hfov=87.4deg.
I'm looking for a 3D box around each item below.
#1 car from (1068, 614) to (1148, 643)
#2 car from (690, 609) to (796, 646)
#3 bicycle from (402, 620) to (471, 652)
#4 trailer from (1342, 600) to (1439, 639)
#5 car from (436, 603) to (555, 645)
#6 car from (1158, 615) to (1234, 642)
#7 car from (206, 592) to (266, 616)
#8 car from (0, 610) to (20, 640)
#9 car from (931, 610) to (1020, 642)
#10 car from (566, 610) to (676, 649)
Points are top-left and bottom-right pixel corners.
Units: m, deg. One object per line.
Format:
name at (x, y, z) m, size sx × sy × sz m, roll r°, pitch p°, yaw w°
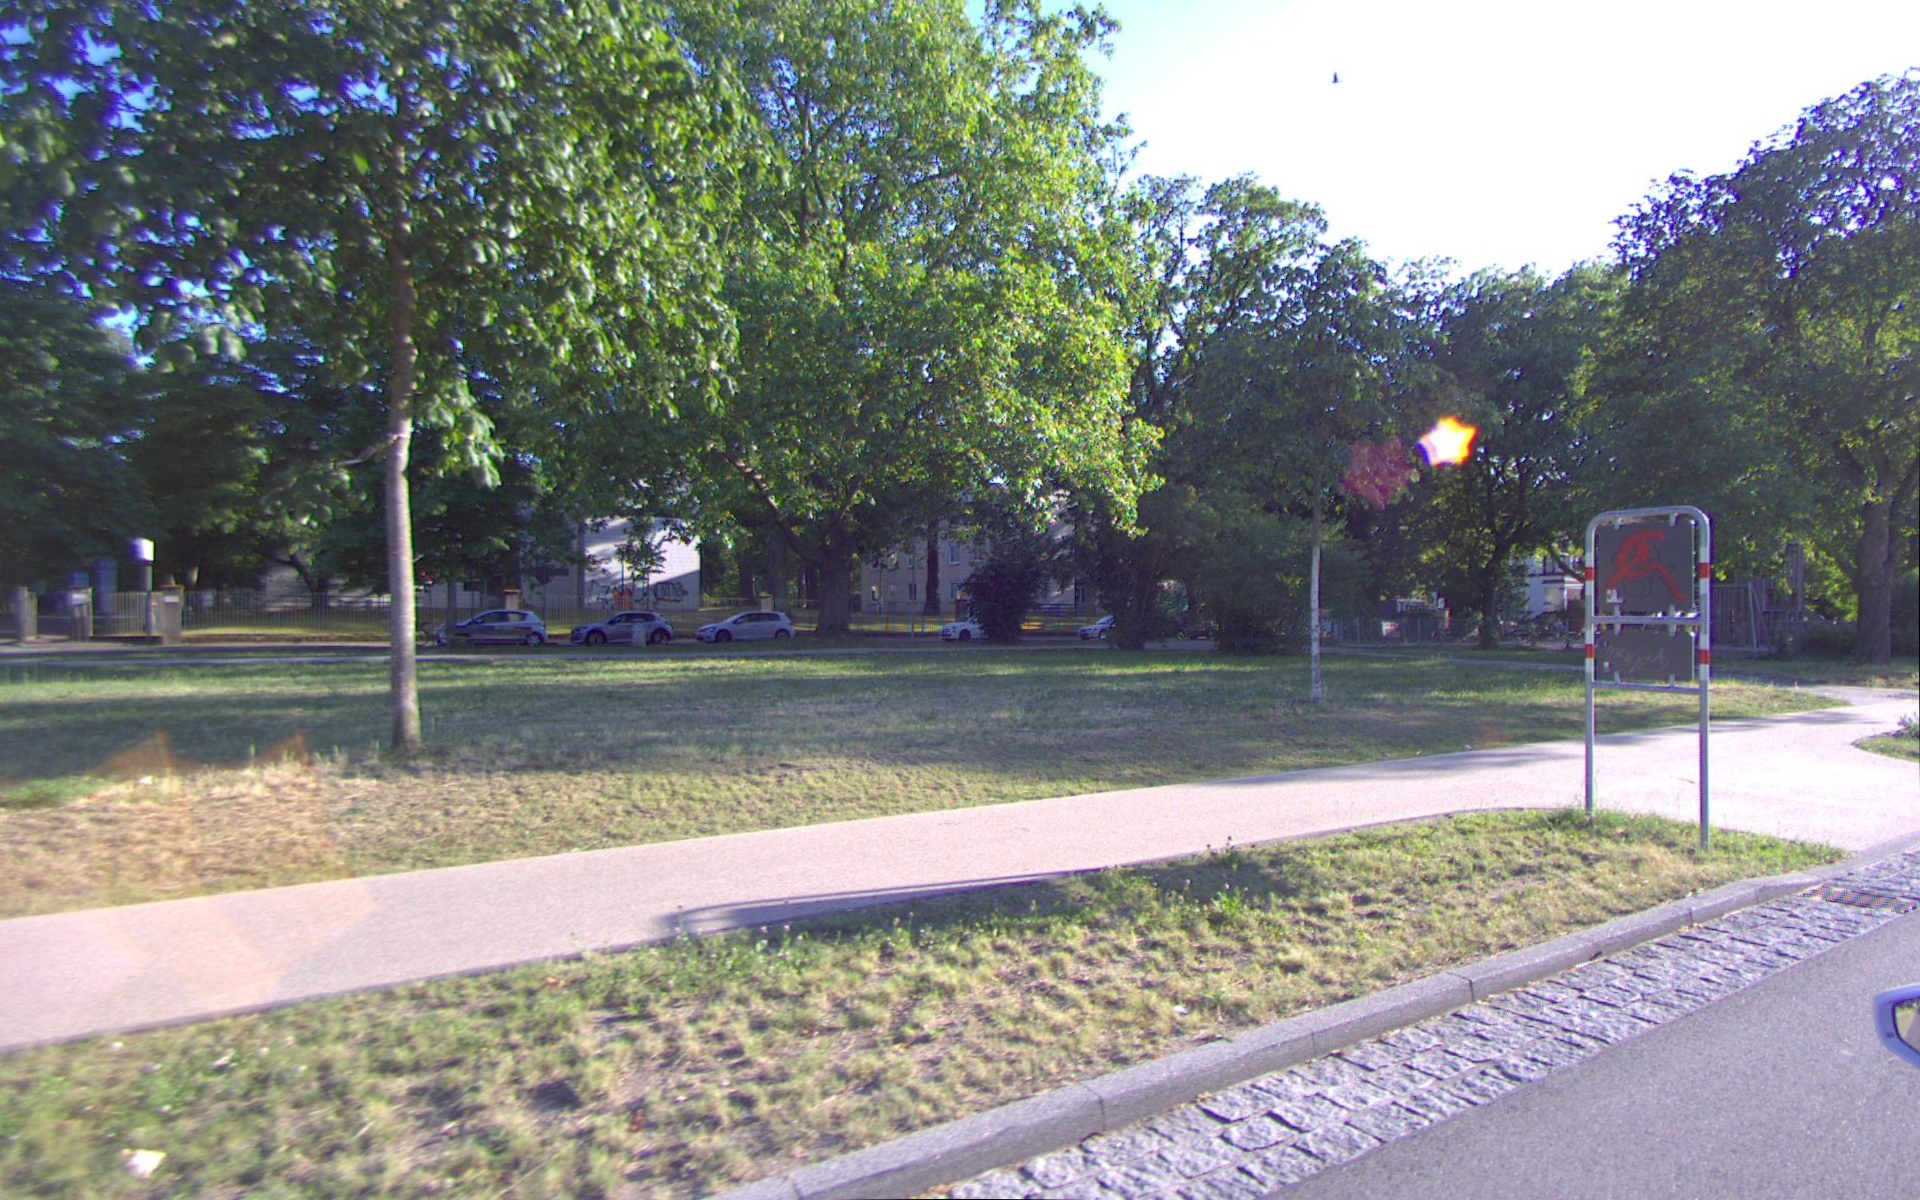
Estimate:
car at (8.079, 1.535, 54.779) m, size 4.068 × 1.528 × 1.984 m, roll 1°, pitch -2°, yaw -31°
car at (-9.396, 1.189, 43.519) m, size 4.068 × 1.528 × 1.984 m, roll 1°, pitch -2°, yaw -31°
bicycle at (-20.220, 1.394, 38.818) m, size 2.310 × 1.191 × 0.652 m, roll 1°, pitch -2°, yaw -35°
trailer at (28.905, 1.359, 67.361) m, size 6.969 × 2.521 × 2.447 m, roll 1°, pitch -2°, yaw -31°
car at (-17.758, 0.935, 38.418) m, size 3.954 × 1.528 × 1.984 m, roll 1°, pitch -2°, yaw -31°
car at (13.717, 1.636, 58.333) m, size 4.068 × 1.528 × 1.984 m, roll 1°, pitch -2°, yaw -31°
car at (-66.830, 0.358, 92.821) m, size 1.602 × 2.085 × 4.243 m, roll -1°, pitch -2°, yaw 28°
car at (-54.986, 1.367, 55.502) m, size 4.203 × 1.670 × 1.617 m, roll 1°, pitch -2°, yaw -33°
car at (0.780, 1.289, 49.899) m, size 4.068 × 1.528 × 1.984 m, roll 1°, pitch -2°, yaw -31°
car at (-13.784, 1.207, 40.885) m, size 3.954 × 1.528 × 1.984 m, roll 1°, pitch -2°, yaw -31°
